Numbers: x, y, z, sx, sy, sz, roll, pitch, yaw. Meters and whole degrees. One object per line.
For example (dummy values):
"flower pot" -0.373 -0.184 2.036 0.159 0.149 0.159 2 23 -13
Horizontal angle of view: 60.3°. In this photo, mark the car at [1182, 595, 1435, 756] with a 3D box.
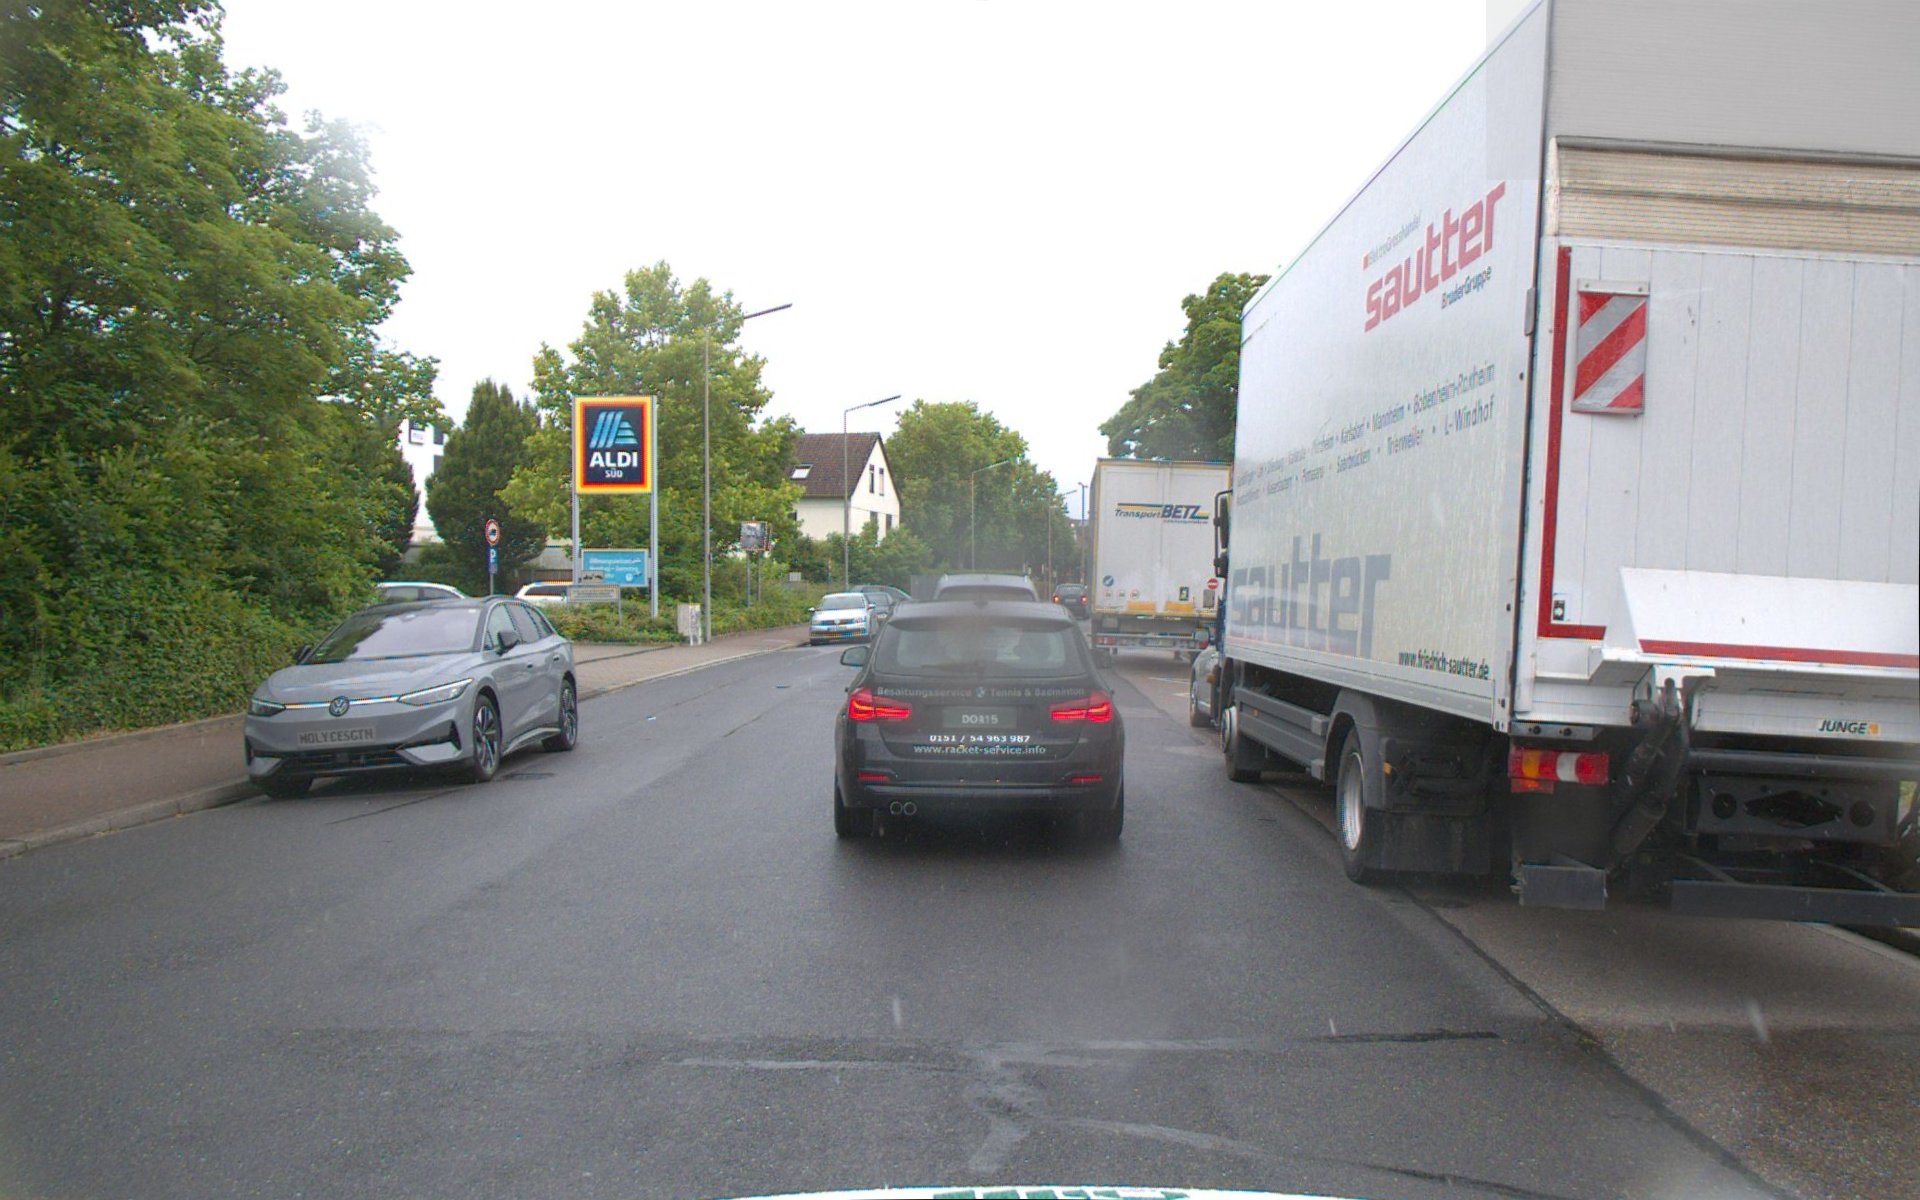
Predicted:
"car" 3.542 0.696 17.600 1.760 1.466 4.344 0 0 0

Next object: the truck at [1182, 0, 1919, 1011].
"truck" 3.411 -0.508 10.506 2.685 3.855 9.299 2 0 0

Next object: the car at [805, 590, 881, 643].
"car" -3.343 0.447 48.091 1.670 1.391 4.603 -3 0 2

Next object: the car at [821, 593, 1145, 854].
"car" 0.070 0.678 11.081 1.768 1.419 3.999 1 0 -2

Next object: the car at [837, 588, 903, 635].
"car" -2.896 0.358 54.111 1.670 1.391 3.840 -3 0 3

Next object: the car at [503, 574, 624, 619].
"car" -14.266 -0.130 59.646 3.904 1.567 1.911 0 0 1

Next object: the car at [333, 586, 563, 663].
"car" -10.271 0.484 33.406 4.106 1.485 1.711 1 0 -3

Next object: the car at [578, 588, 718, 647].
"car" -8.612 0.467 45.847 3.496 1.485 1.713 2 0 2

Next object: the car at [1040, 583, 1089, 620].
"car" 4.774 0.053 75.096 1.766 1.614 4.003 1 0 10

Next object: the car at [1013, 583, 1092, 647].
"car" 2.556 0.413 46.618 1.953 1.713 3.999 1 0 -1

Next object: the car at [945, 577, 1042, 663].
"car" 0.621 0.387 33.480 1.768 1.614 3.999 1 0 -2

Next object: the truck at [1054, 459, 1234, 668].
"truck" 3.540 -0.689 33.729 2.685 3.674 7.750 2 0 0

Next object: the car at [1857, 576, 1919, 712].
"car" 11.485 0.440 18.400 1.678 1.417 3.741 0 1 45

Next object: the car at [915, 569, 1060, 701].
"car" 0.285 0.430 22.405 1.768 1.614 3.999 1 0 -2

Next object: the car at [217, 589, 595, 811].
"car" -4.733 0.753 14.957 1.772 1.555 4.747 -4 0 -1

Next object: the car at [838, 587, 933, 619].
"car" -3.258 0.138 73.069 4.100 1.386 1.589 0 0 1
